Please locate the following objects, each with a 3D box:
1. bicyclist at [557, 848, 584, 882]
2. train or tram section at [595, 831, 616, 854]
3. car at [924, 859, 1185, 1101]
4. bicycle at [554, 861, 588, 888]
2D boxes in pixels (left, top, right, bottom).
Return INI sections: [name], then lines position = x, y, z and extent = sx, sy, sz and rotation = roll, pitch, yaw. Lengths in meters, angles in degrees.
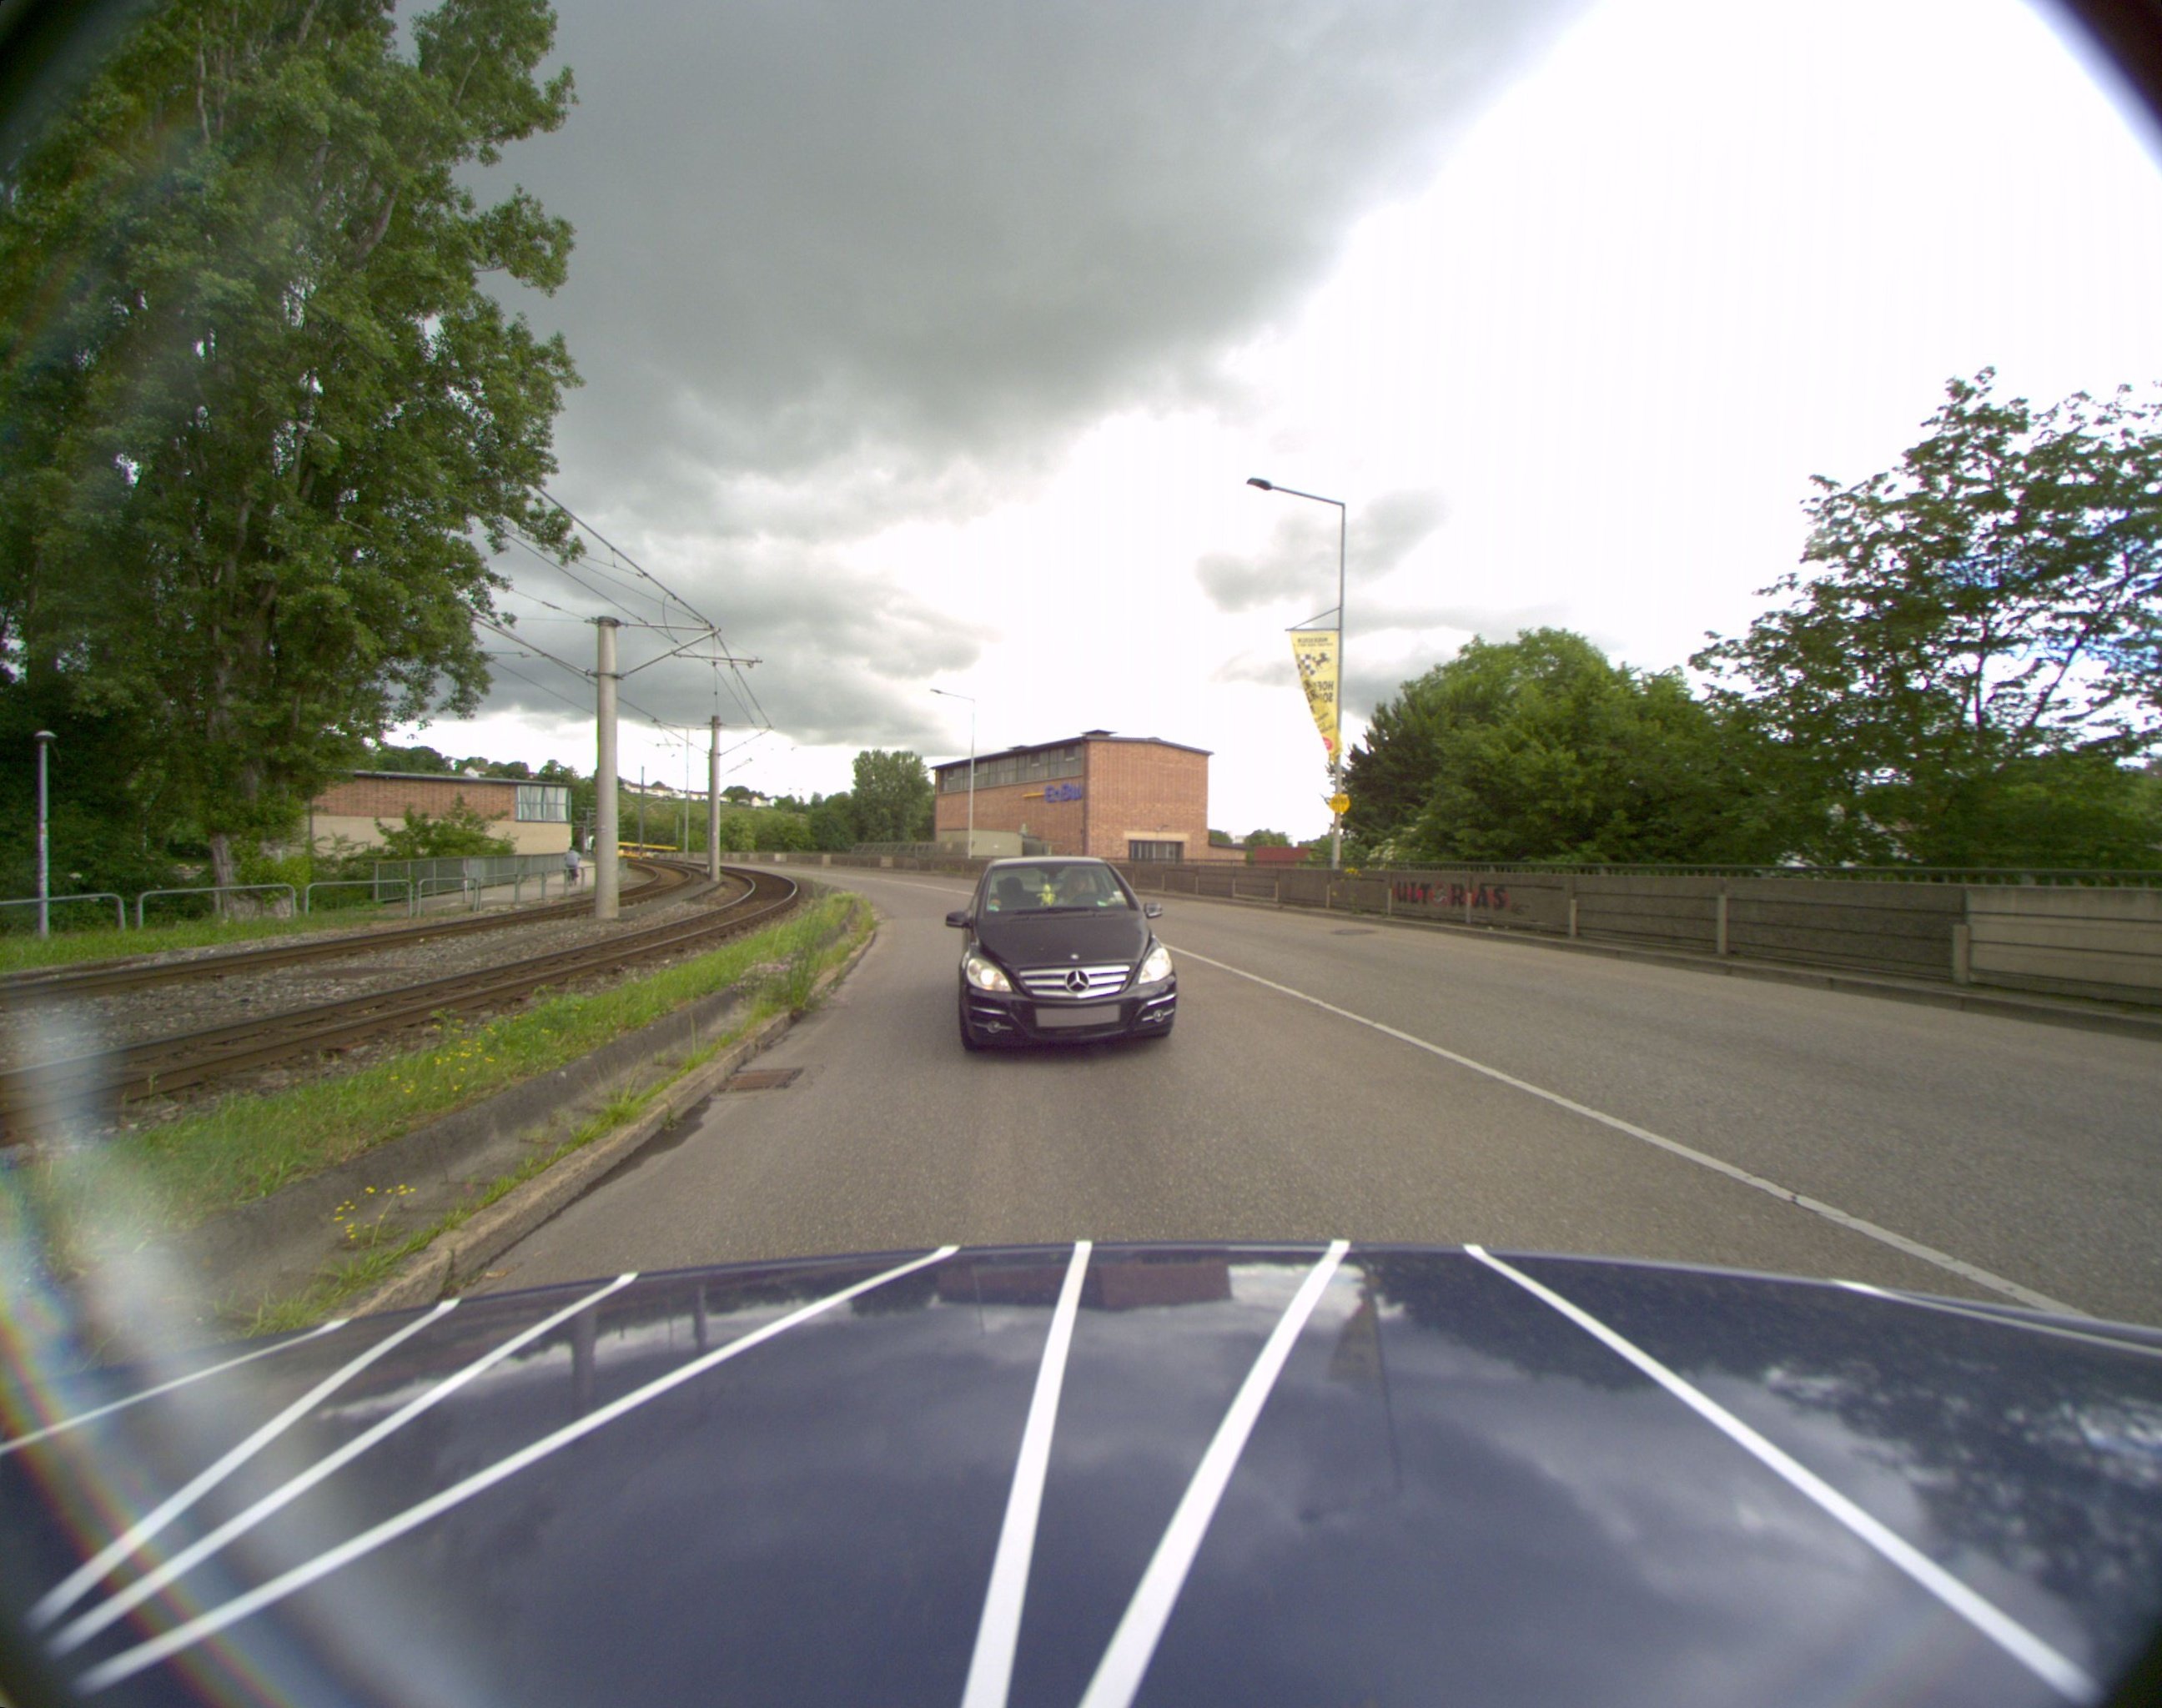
[bicyclist]
position = -20.602, 0.449, 30.681
extent = 0.596, 1.352, 0.909
rotation = -1, 1, -15
[train or tram section]
position = -85.393, -2.073, 136.376
extent = 3.038, 3.896, 9.417
rotation = 0, 1, -33
[car]
position = -0.343, 0.905, 7.418
extent = 1.861, 1.612, 3.997
rotation = 0, 1, -5
[bicycle]
position = -20.561, 0.801, 30.687
extent = 0.427, 1.044, 2.077
rotation = -1, 0, -14
